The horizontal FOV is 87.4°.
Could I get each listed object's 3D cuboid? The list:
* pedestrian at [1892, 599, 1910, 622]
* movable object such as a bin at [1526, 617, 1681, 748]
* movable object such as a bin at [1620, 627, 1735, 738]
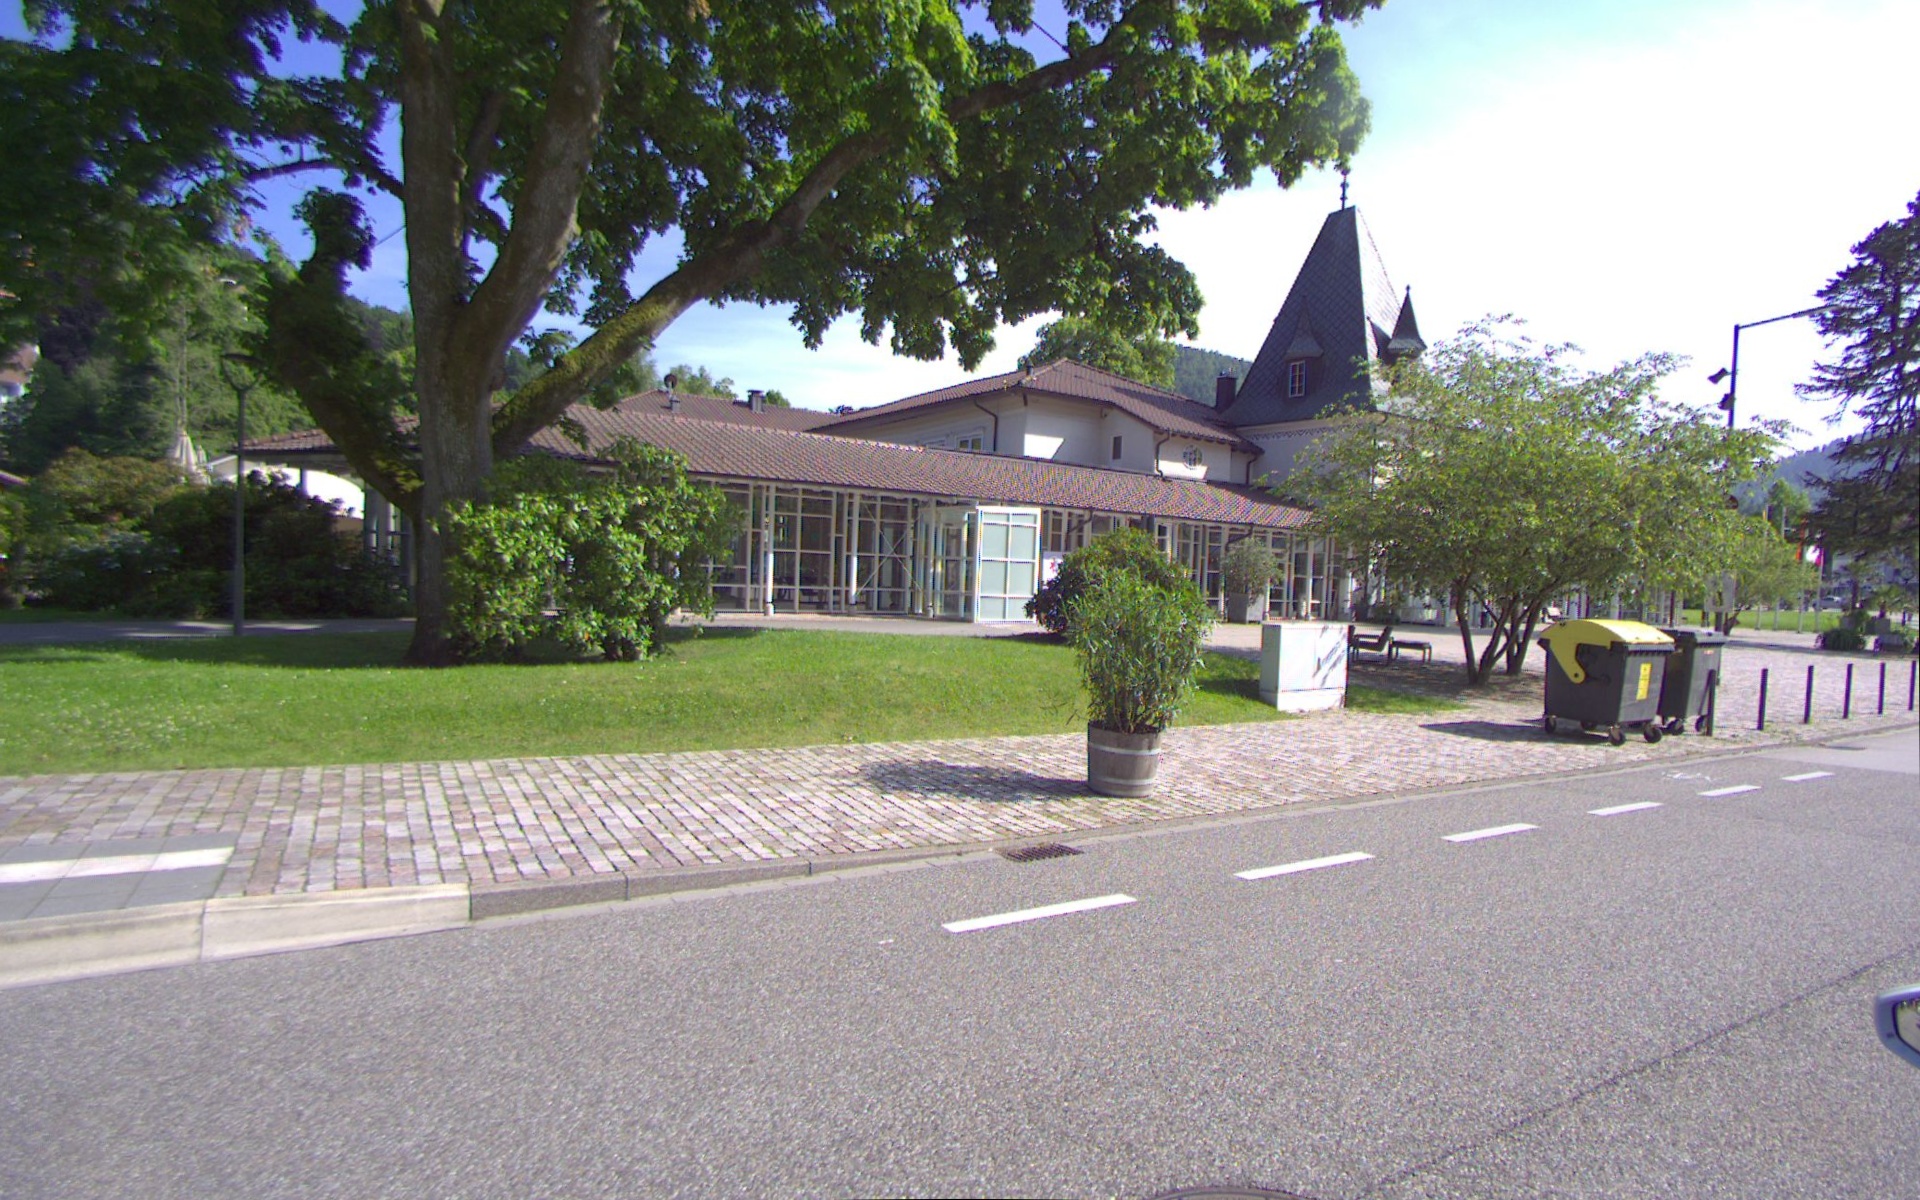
[{"bbox_3d":[77.594,0.848,82.836,0.854,1.839,0.690,4,3,29],"label":"pedestrian"},{"bbox_3d":[8.003,0.982,12.509,1.362,1.446,1.072,1,4,-33],"label":"movable object such as a bin"},{"bbox_3d":[9.659,1.077,13.522,1.281,1.360,0.750,1,4,-33],"label":"movable object such as a bin"}]
